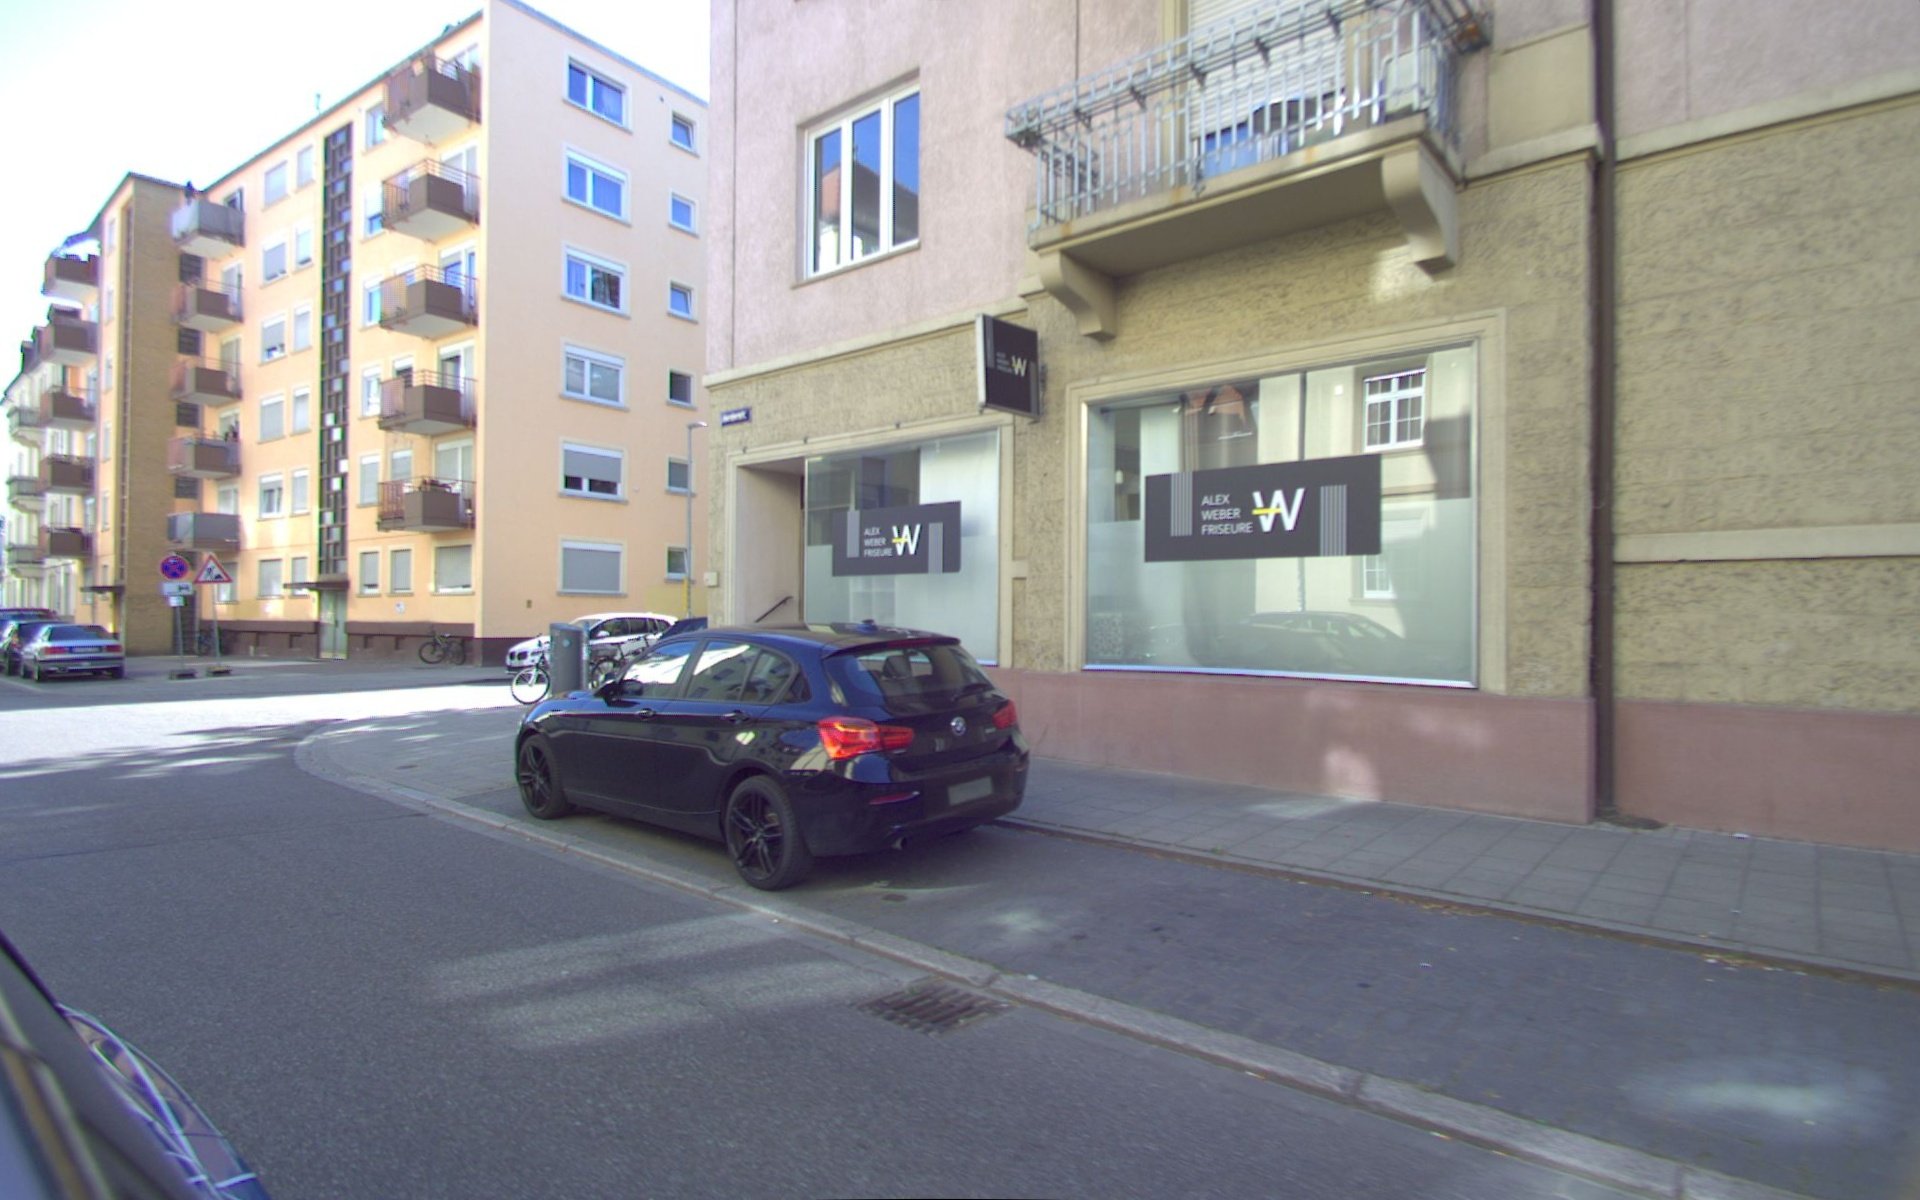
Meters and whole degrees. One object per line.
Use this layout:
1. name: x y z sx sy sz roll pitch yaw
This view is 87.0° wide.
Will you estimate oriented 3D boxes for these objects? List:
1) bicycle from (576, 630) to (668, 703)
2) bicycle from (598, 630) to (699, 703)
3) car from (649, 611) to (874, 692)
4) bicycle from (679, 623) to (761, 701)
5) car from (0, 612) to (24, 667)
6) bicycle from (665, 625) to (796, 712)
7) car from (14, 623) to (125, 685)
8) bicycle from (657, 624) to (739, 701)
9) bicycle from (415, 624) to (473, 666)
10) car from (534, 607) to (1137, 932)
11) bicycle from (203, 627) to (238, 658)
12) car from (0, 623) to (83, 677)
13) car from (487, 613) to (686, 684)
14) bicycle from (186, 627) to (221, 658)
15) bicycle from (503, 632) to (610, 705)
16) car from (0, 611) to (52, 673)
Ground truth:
1. bicycle: -5.746 1.108 17.292 0.433 1.156 1.648 -1 -1 28
2. bicycle: -5.240 1.090 17.161 0.434 1.156 1.842 -1 -1 30
3. car: -3.706 0.963 19.313 3.945 1.395 1.709 -1 -2 1
4. bicycle: -3.967 1.004 16.846 0.434 1.223 1.486 -1 -1 30
5. car: -35.016 1.404 36.210 4.109 1.892 1.799 -1 -2 41
6. bicycle: -3.231 0.935 14.391 0.694 1.144 1.787 -1 -2 38
7. car: -22.393 1.311 25.417 3.499 1.433 1.657 -1 -2 41
8. bicycle: -4.397 1.030 17.073 0.434 1.223 1.486 -1 -1 30
9. bicycle: -14.296 1.240 28.034 1.801 1.116 0.680 -1 -2 35
10. car: -0.994 0.809 6.527 3.863 1.396 1.697 -1 2 42
11. bicycle: -27.309 1.549 37.373 1.801 1.116 0.488 -1 -2 35
12. car: -26.151 1.362 28.577 3.284 1.433 1.657 -1 -2 41
13. car: -9.001 1.117 24.755 1.776 1.571 4.404 -1 -1 33
14. bicycle: -27.626 1.550 36.934 1.801 1.116 0.488 -1 -2 35
15. bicycle: -6.814 1.134 17.161 0.592 1.156 1.644 -1 -2 35
16. car: -30.527 1.325 32.330 4.109 1.892 1.799 -1 -2 41
